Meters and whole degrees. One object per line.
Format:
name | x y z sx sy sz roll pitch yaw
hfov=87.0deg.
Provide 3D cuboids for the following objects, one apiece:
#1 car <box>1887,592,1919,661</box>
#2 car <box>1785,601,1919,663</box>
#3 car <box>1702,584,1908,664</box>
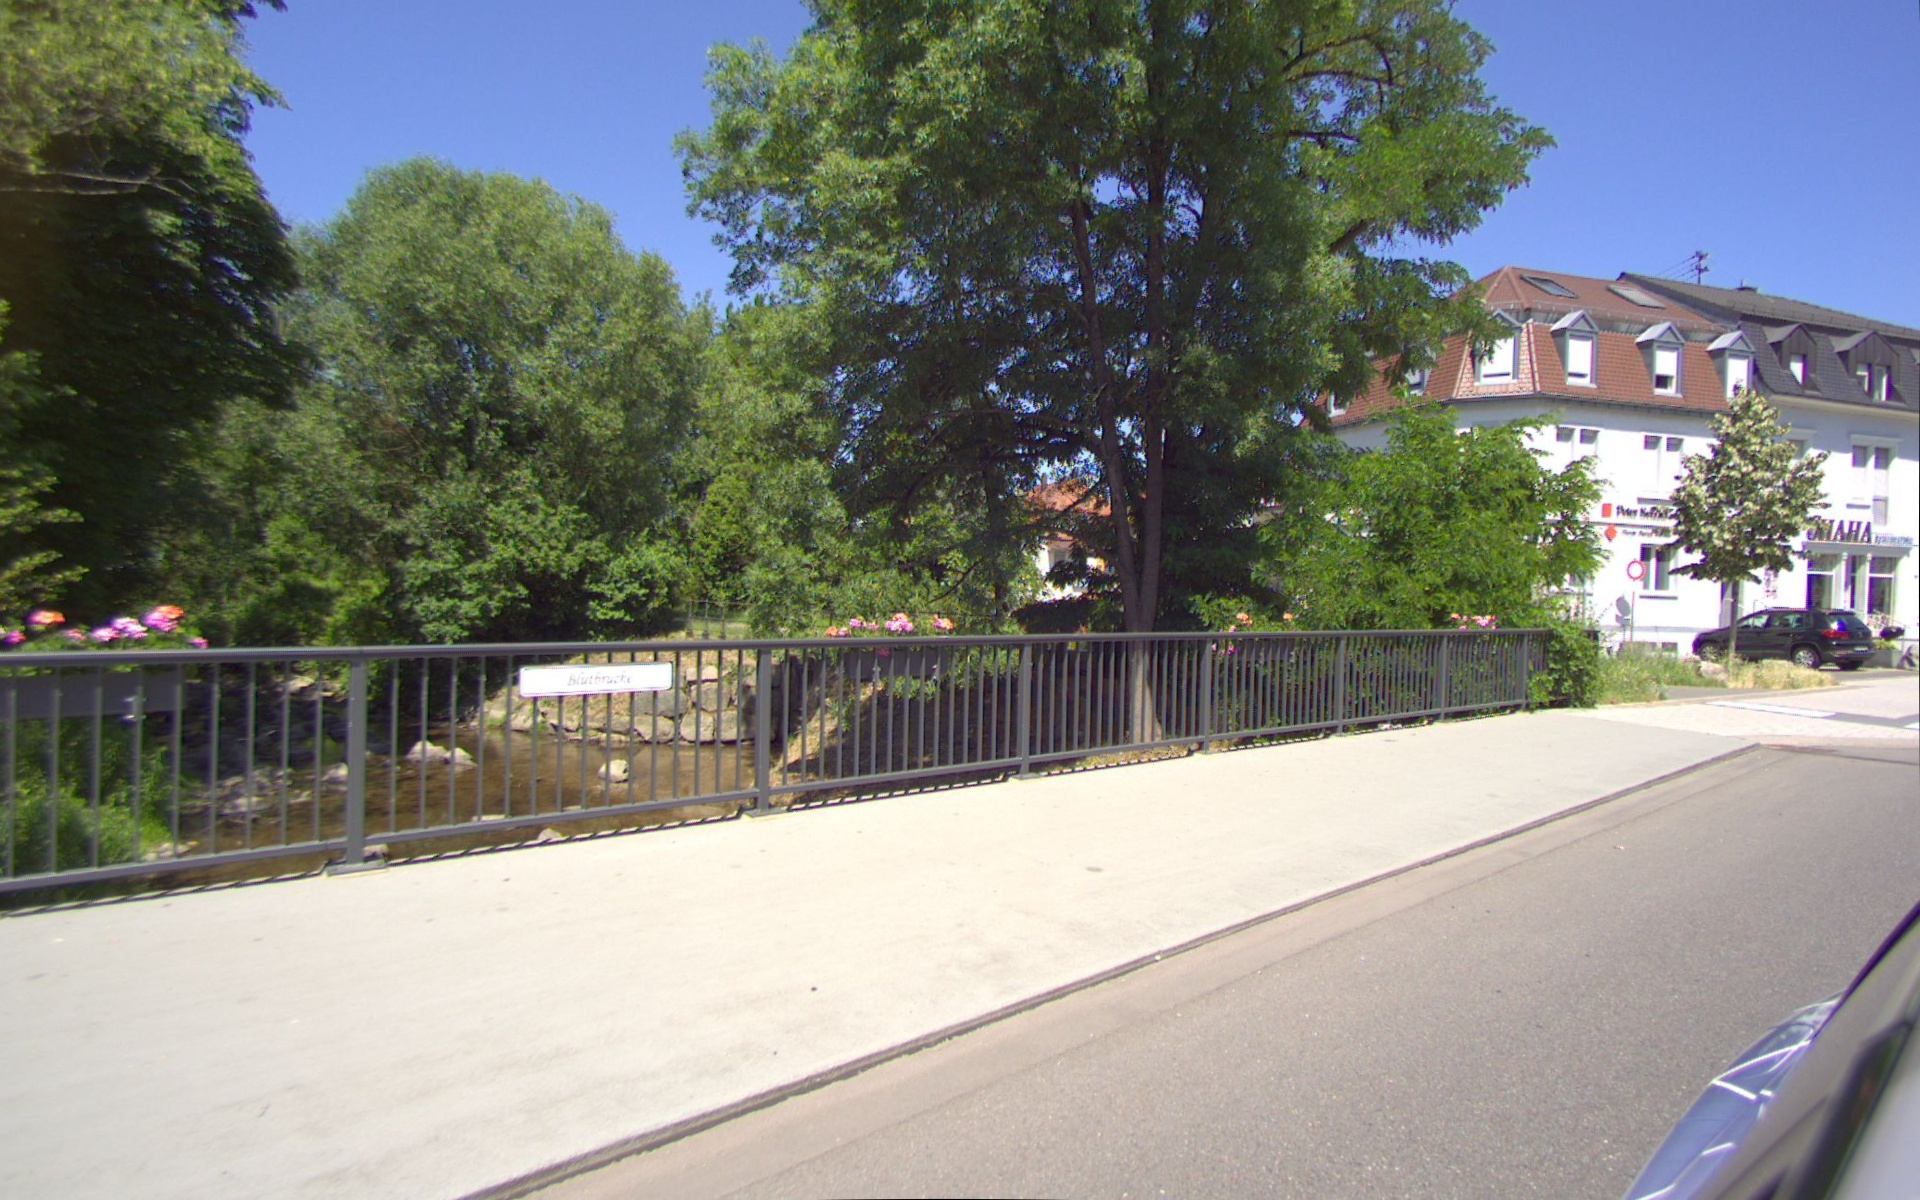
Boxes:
car | 29.543 0.855 28.921 1.958 2.039 4.008 3 0 -14
car | 26.652 0.905 29.207 1.958 1.691 4.008 2 -1 -14
car | 23.374 0.625 28.216 1.958 2.039 4.008 0 0 -14
